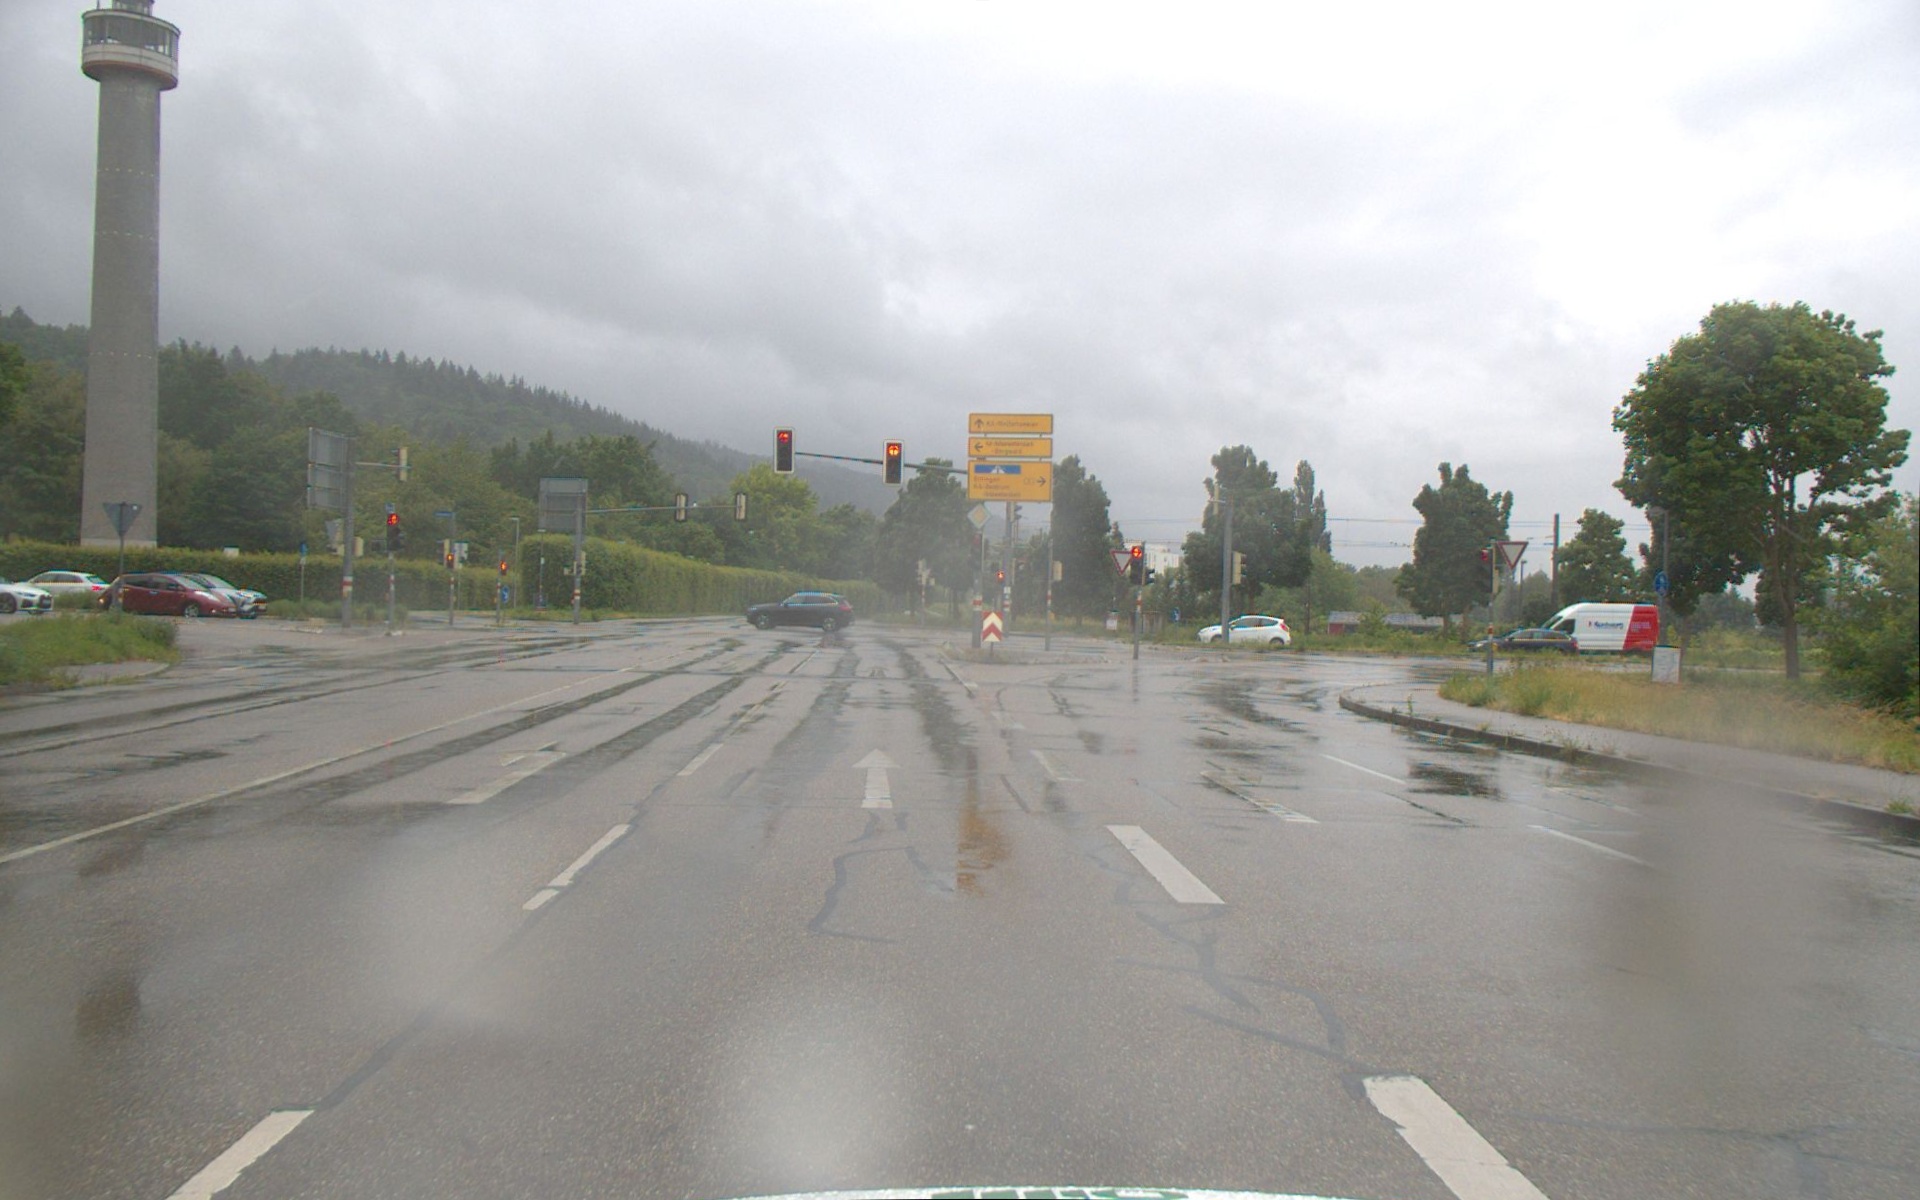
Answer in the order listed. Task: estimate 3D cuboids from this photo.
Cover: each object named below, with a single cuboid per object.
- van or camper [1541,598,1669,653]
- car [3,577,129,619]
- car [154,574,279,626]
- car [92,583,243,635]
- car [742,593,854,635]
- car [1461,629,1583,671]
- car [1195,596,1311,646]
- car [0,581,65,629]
[{"bbox_3d":[28.239,1.103,72.563,4.748,2.207,2.161,2,0,2],"label":"van or camper"},{"bbox_3d":[-37.587,-0.075,69.629,4.298,1.607,1.727,2,0,-12],"label":"car"},{"bbox_3d":[-27.034,0.000,60.177,3.721,1.741,1.747,2,0,4],"label":"car"},{"bbox_3d":[-27.003,0.289,56.432,4.283,1.607,1.733,2,0,4],"label":"car"},{"bbox_3d":[-6.917,0.594,70.802,4.574,1.667,1.822,1,0,0],"label":"car"},{"bbox_3d":[23.647,2.099,69.714,4.571,1.580,1.824,1,0,5],"label":"car"},{"bbox_3d":[12.369,0.877,69.982,4.572,1.949,1.916,1,0,2],"label":"car"},{"bbox_3d":[-33.515,0.124,56.629,4.779,1.580,1.800,1,0,4],"label":"car"}]
